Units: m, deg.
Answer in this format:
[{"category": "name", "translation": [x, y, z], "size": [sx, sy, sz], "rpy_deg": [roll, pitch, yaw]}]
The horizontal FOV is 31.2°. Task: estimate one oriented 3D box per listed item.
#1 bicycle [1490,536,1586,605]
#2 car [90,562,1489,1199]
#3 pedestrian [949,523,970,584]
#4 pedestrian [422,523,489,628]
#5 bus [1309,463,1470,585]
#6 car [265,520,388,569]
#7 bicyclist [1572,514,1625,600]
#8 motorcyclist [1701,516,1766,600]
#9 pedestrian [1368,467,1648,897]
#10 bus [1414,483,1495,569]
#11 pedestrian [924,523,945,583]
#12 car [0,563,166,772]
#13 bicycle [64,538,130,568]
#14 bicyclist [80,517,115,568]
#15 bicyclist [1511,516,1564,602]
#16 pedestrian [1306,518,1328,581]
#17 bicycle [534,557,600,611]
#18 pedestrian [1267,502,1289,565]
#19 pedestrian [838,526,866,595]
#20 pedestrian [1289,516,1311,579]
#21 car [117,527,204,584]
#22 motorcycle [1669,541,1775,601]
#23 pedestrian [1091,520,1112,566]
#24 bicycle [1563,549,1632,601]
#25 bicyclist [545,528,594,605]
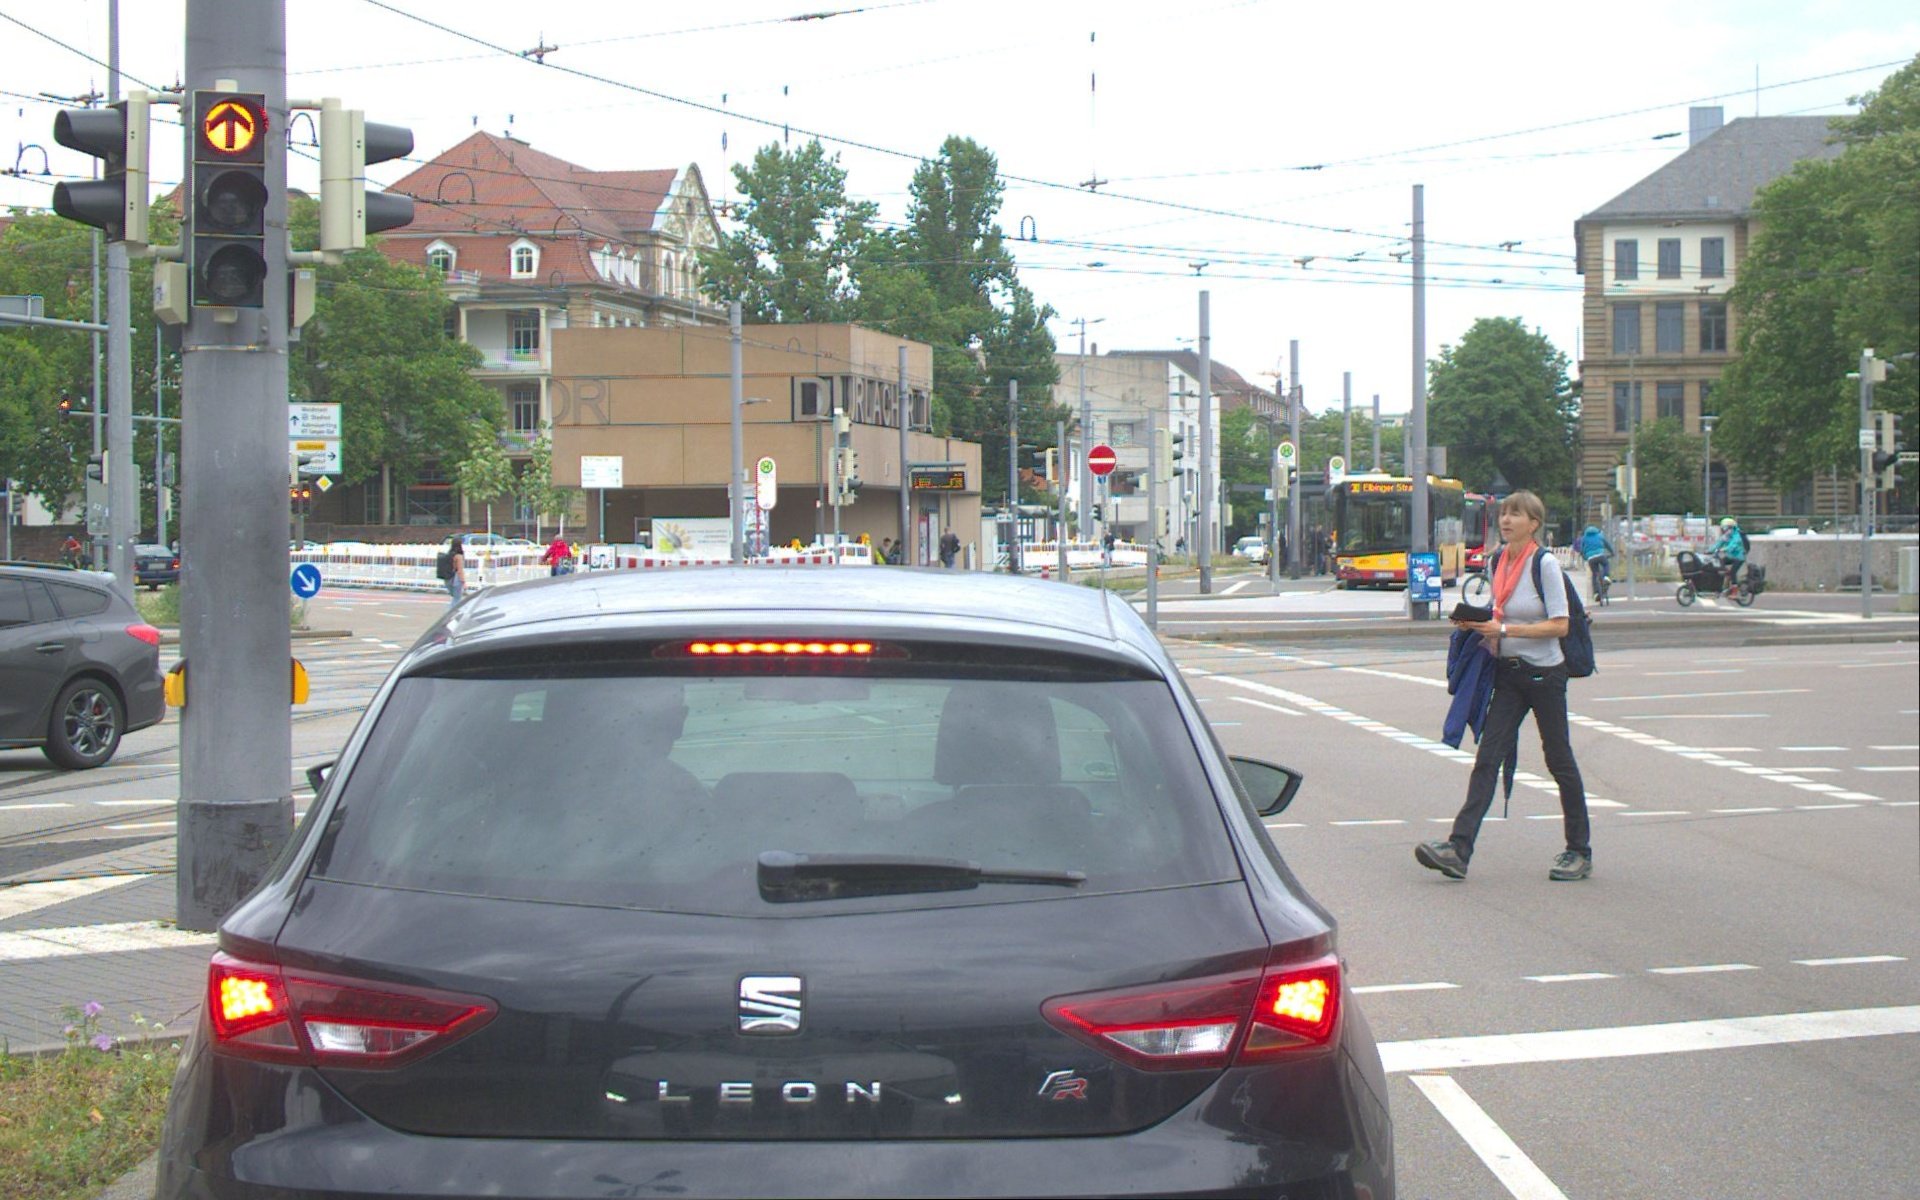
[{"category": "bicycle", "translation": [11.279, -0.583, 67.066], "size": [1.730, 1.317, 0.645], "rpy_deg": [0, 1, -10]}, {"category": "car", "translation": [-0.344, 0.676, 6.105], "size": [1.704, 1.444, 3.813], "rpy_deg": [0, 1, -4]}, {"category": "pedestrian", "translation": [-0.023, -1.484, 109.610], "size": [0.621, 1.911, 0.710], "rpy_deg": [0, 1, 3]}, {"category": "pedestrian", "translation": [-9.355, -0.463, 63.742], "size": [0.700, 1.927, 1.028], "rpy_deg": [1, 1, 38]}, {"category": "bus", "translation": [11.807, -2.064, 93.553], "size": [2.962, 3.112, 11.531], "rpy_deg": [0, 1, 14]}, {"category": "car", "translation": [-22.669, -1.991, 123.135], "size": [3.987, 1.678, 2.000], "rpy_deg": [0, 0, 1]}, {"category": "bicyclist", "translation": [13.750, -0.929, 74.064], "size": [0.871, 1.845, 1.048], "rpy_deg": [0, 1, -6]}, {"category": "motorcyclist", "translation": [15.153, -0.824, 67.356], "size": [0.977, 1.644, 0.750], "rpy_deg": [-1, 1, -33]}, {"category": "pedestrian", "translation": [2.530, 0.358, 15.839], "size": [1.101, 1.900, 0.735], "rpy_deg": [0, 1, -43]}, {"category": "bus", "translation": [19.728, -2.931, 136.759], "size": [2.655, 3.272, 10.990], "rpy_deg": [0, 1, 11]}, {"category": "pedestrian", "translation": [-0.804, -1.497, 109.700], "size": [0.621, 1.911, 0.710], "rpy_deg": [0, 1, 3]}, {"category": "car", "translation": [-7.571, 0.475, 23.128], "size": [1.696, 1.391, 4.384], "rpy_deg": [1, 1, 33]}, {"category": "bicycle", "translation": [-34.051, -1.870, 135.638], "size": [0.941, 1.174, 2.725], "rpy_deg": [0, 1, 28]}, {"category": "bicyclist", "translation": [-34.032, -2.287, 135.641], "size": [0.939, 2.007, 0.977], "rpy_deg": [0, 1, 28]}, {"category": "bicyclist", "translation": [11.262, -0.799, 67.061], "size": [0.854, 1.667, 0.654], "rpy_deg": [0, 1, -10]}, {"category": "pedestrian", "translation": [10.877, -1.548, 104.659], "size": [0.621, 1.911, 0.698], "rpy_deg": [0, 1, 9]}, {"category": "bicycle", "translation": [-8.858, -0.371, 77.450], "size": [0.891, 1.174, 2.302], "rpy_deg": [0, 1, -22]}, {"category": "pedestrian", "translation": [9.650, -2.011, 104.274], "size": [0.621, 1.911, 0.698], "rpy_deg": [0, 1, 9]}, {"category": "pedestrian", "translation": [-3.032, -1.114, 96.685], "size": [0.708, 1.911, 0.623], "rpy_deg": [0, 1, 7]}, {"category": "pedestrian", "translation": [10.447, -1.618, 105.666], "size": [0.621, 1.911, 0.710], "rpy_deg": [0, 1, 3]}, {"category": "car", "translation": [-24.397, -1.348, 104.877], "size": [1.993, 1.678, 4.001], "rpy_deg": [0, 0, -22]}, {"category": "motorcycle", "translation": [14.900, -0.572, 67.185], "size": [2.135, 1.135, 0.744], "rpy_deg": [-1, 1, -33]}, {"category": "pedestrian", "translation": [5.912, -2.366, 143.686], "size": [0.622, 1.911, 0.709], "rpy_deg": [-1, 0, 25]}, {"category": "bicycle", "translation": [13.745, -0.548, 74.164], "size": [0.865, 1.101, 2.302], "rpy_deg": [0, 1, -5]}, {"category": "bicyclist", "translation": [-8.762, -0.762, 77.196], "size": [0.882, 1.726, 0.894], "rpy_deg": [0, 1, -22]}]
